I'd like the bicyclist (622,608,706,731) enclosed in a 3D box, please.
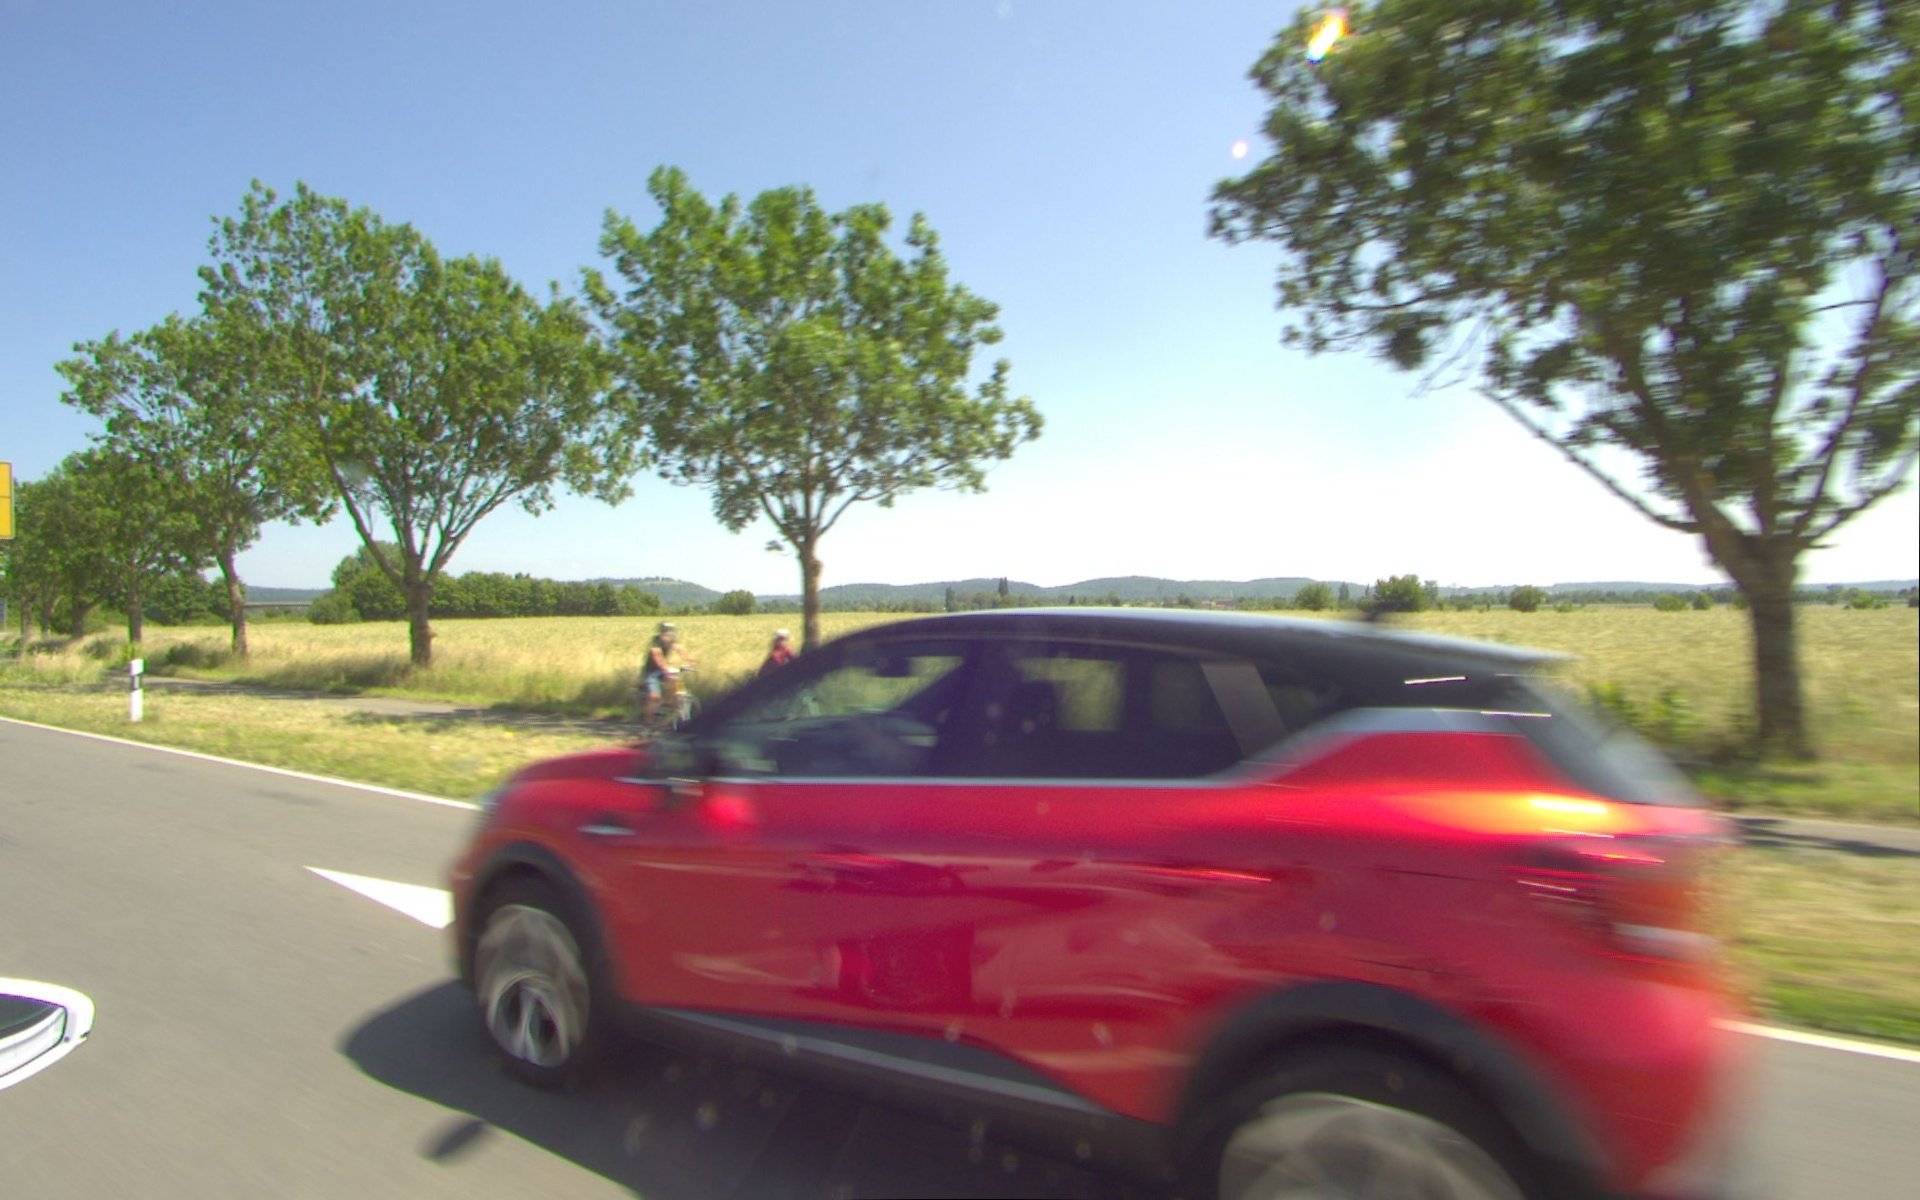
[{"bbox_3d":[-4.413,1.023,14.911,1.159,1.755,0.585,0,-4,42],"label":"bicyclist"}]

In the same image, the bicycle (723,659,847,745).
[{"bbox_3d":[-2.743,1.551,15.577,2.025,1.225,0.696,-1,-3,38],"label":"bicycle"}]

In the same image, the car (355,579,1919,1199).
[{"bbox_3d":[0.096,0.807,3.390,4.383,1.572,1.820,-1,-2,31],"label":"car"}]

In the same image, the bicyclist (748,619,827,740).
[{"bbox_3d":[-2.694,1.228,15.603,0.965,1.804,0.626,1,-4,38],"label":"bicyclist"}]

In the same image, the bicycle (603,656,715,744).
[{"bbox_3d":[-4.525,1.463,14.966,2.028,1.191,0.603,-1,-4,42],"label":"bicycle"}]
